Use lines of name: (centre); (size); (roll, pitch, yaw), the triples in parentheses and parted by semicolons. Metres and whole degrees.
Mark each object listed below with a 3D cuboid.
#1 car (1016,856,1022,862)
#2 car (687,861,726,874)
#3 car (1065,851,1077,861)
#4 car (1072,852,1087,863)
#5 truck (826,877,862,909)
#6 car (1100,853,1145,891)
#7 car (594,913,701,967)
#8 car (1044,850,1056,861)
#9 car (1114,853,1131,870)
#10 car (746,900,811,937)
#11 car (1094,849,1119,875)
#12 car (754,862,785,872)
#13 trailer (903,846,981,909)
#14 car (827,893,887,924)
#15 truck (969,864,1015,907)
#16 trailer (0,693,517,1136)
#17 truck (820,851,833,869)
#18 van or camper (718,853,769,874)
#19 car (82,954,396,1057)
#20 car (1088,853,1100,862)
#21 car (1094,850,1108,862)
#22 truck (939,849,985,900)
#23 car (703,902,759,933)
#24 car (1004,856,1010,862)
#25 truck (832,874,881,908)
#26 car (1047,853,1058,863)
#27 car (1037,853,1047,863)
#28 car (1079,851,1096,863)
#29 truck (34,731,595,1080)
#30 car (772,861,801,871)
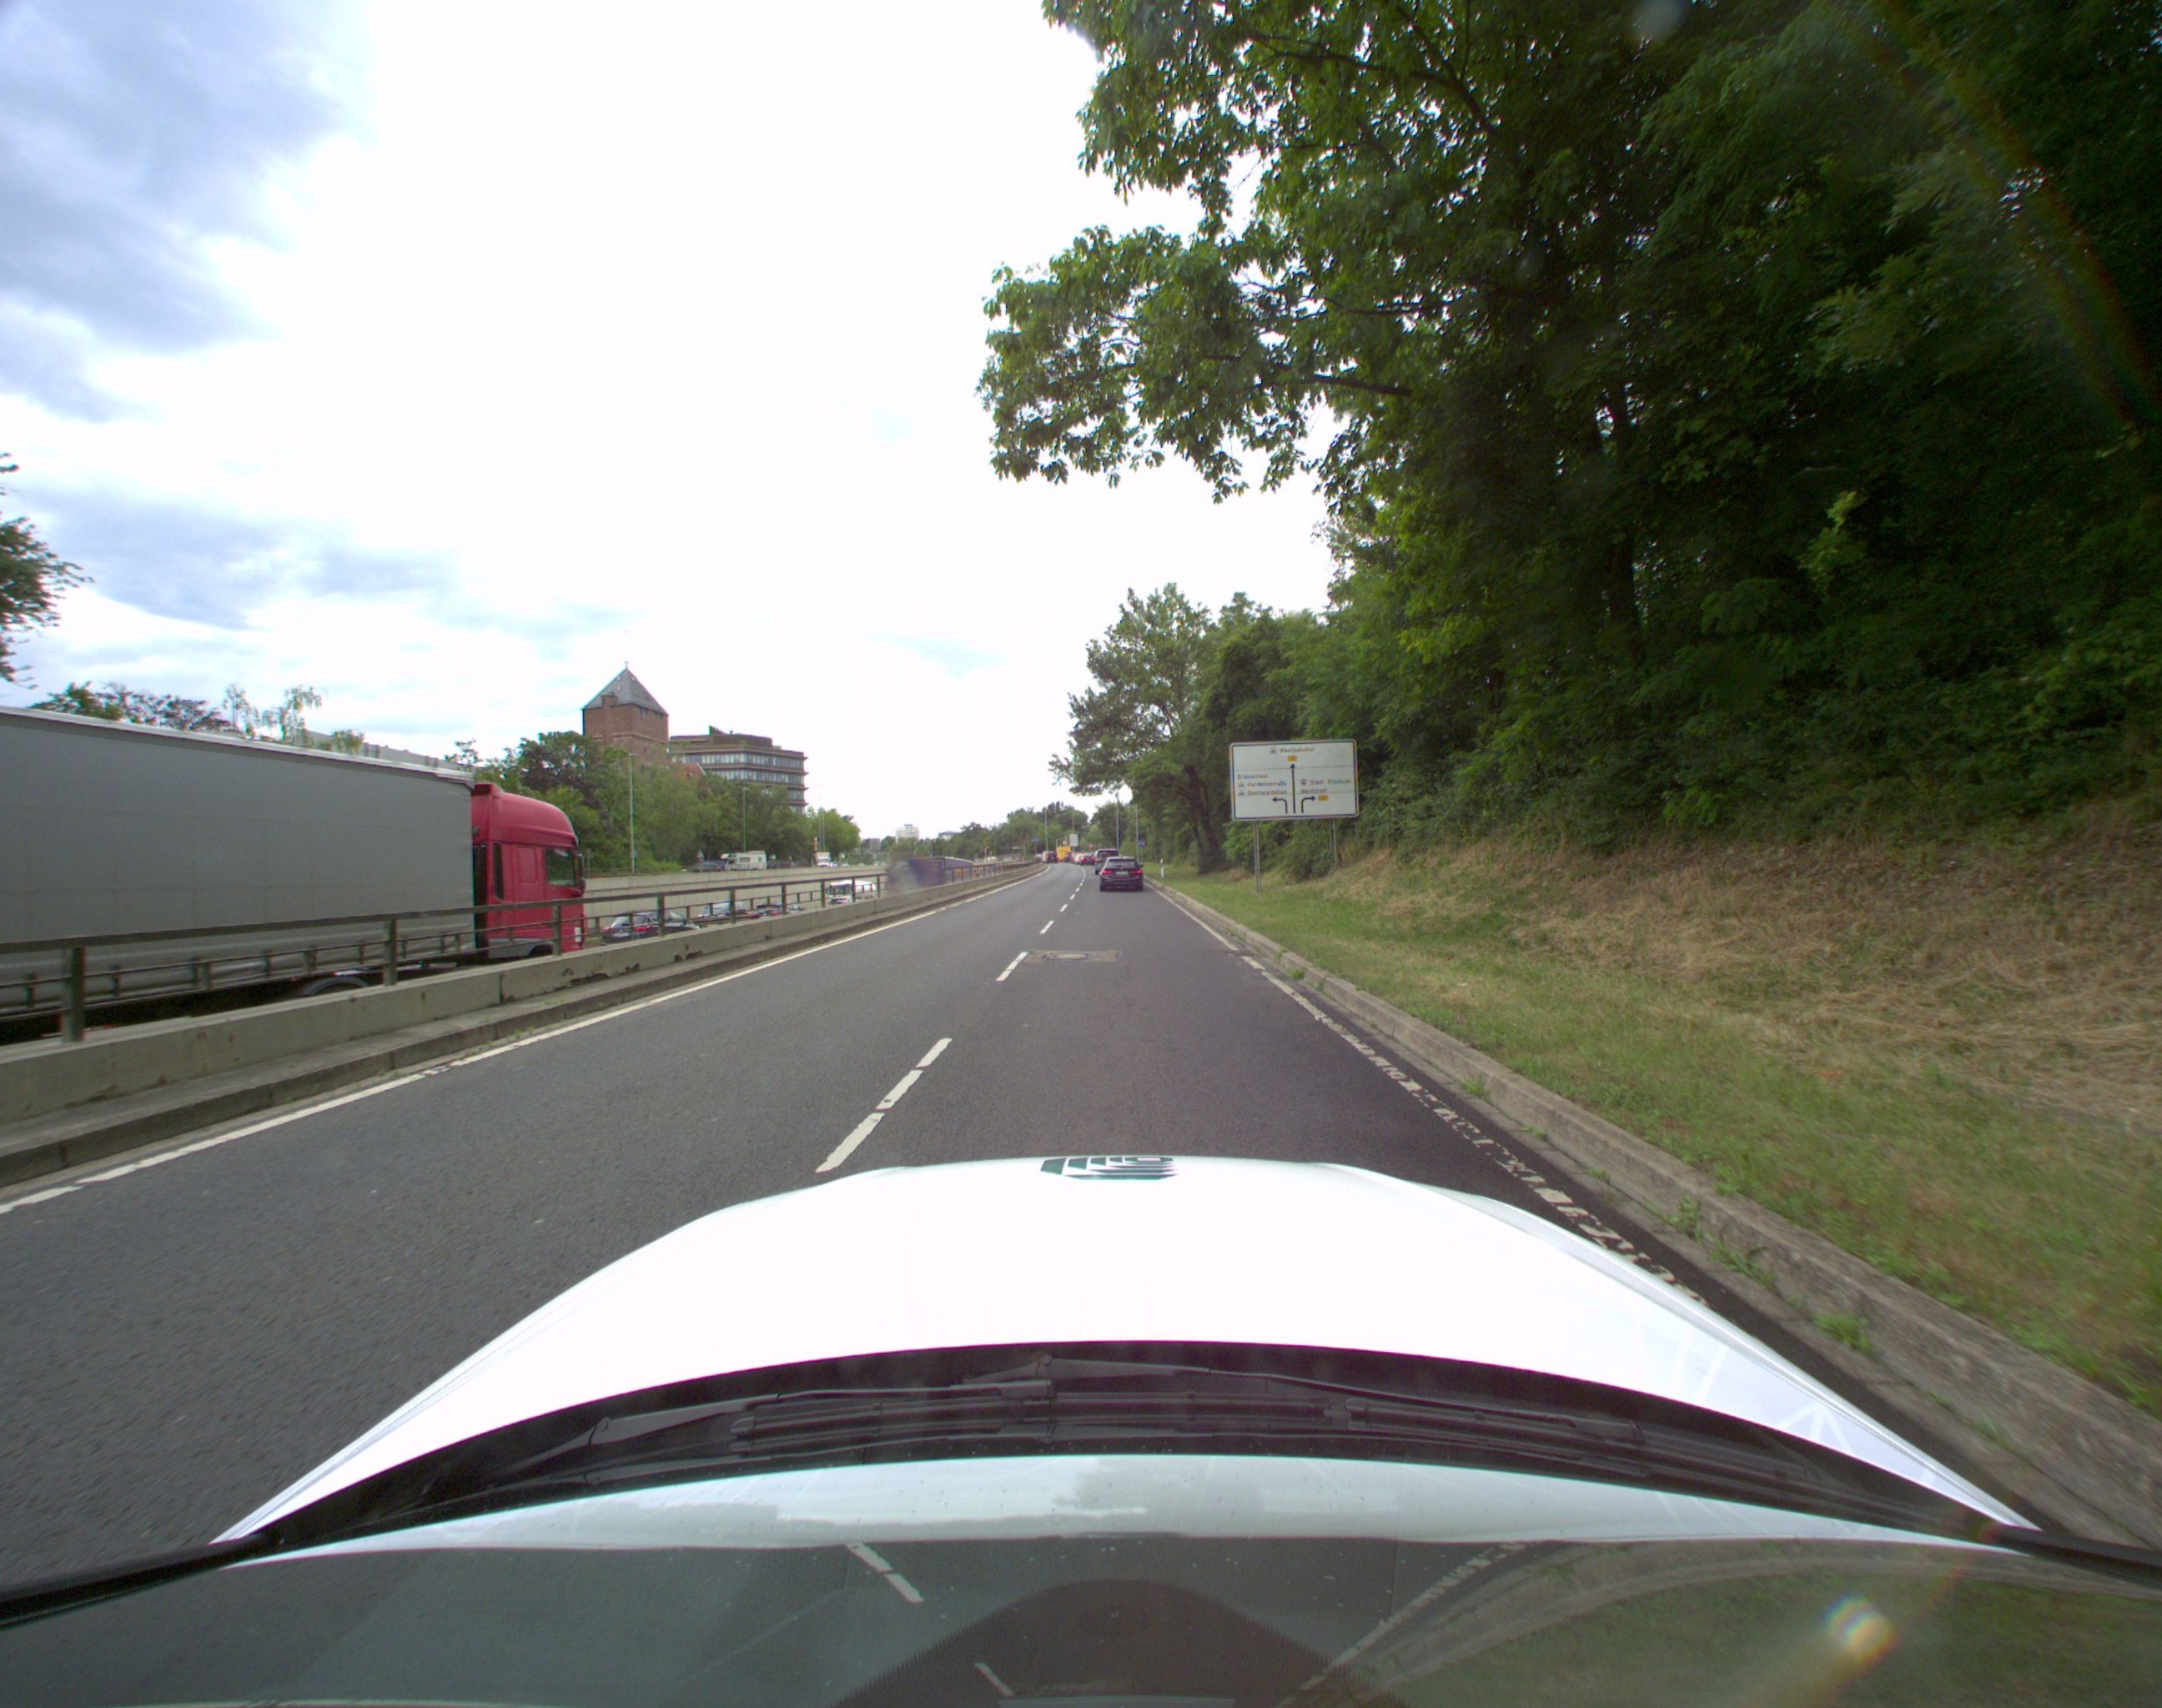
car: (-16.914, 1.399, 222.363); (1.621, 1.701, 4.287); (0, -1, -6)
car: (-44.915, 1.591, 97.744); (1.608, 1.441, 4.025); (-1, -1, 40)
car: (-1.767, 0.386, 143.098); (1.881, 1.700, 4.423); (0, -1, -4)
car: (-0.246, 0.542, 120.956); (1.881, 1.592, 4.423); (0, 0, -4)
truck: (-25.657, 4.169, 88.438); (2.517, 3.220, 4.317); (-2, -1, 0)
car: (1.729, 0.722, 35.059); (1.742, 1.426, 4.463); (-1, 1, 1)
car: (-15.325, 3.009, 29.036); (1.650, 1.529, 3.897); (0, 0, 1)
car: (-5.563, 0.294, 146.180); (1.881, 1.987, 4.423); (0, -1, -4)
car: (4.858, 0.881, 96.213); (1.891, 1.884, 4.417); (0, -1, 2)
car: (-14.885, 3.161, 40.282); (1.617, 1.529, 3.899); (0, 0, 2)
car: (1.957, 0.633, 62.187); (1.891, 1.884, 4.417); (0, -1, 2)
car: (-45.825, 1.901, 119.722); (1.608, 1.441, 4.025); (-1, -1, 40)
trailer: (-10.142, 1.611, 61.607); (2.842, 4.037, 16.004); (-2, -1, 0)
car: (-10.475, 2.505, 38.286); (1.649, 1.213, 3.898); (0, 0, 1)
truck: (-9.248, 3.130, 86.400); (2.841, 4.037, 15.576); (-2, -1, 0)
trailer: (-11.213, 0.585, 6.566); (2.641, 4.037, 14.561); (-2, -1, 2)
truck: (-42.704, 1.071, 136.895); (2.021, 2.987, 7.057); (0, -1, -17)
van or camper: (-45.250, 1.249, 109.352); (5.958, 2.810, 2.120); (0, -1, -43)
car: (-15.187, 2.674, 15.052); (1.649, 1.213, 3.899); (0, 0, 2)
car: (2.247, 0.662, 139.211); (1.879, 1.545, 3.998); (0, 0, -1)
car: (3.117, 0.300, 129.802); (1.881, 1.880, 4.423); (0, -1, -4)
truck: (-10.093, 1.702, 69.438); (2.841, 4.037, 6.096); (-2, -1, 0)
car: (-21.799, 3.941, 50.825); (1.617, 1.552, 3.955); (-2, 0, 2)
car: (-18.514, 1.263, 203.789); (1.621, 1.701, 4.287); (0, -1, -6)
truck: (-25.659, 4.154, 93.661); (2.516, 3.352, 11.047); (-2, -1, 0)
car: (-4.899, 0.697, 138.114); (1.621, 1.701, 4.287); (0, -1, -6)
car: (-7.406, 0.781, 153.010); (1.621, 1.701, 4.287); (0, -1, -6)
car: (0.812, 0.420, 106.577); (1.881, 1.592, 4.423); (0, 0, -4)
truck: (-10.975, 0.642, 12.776); (2.695, 4.037, 6.206); (-2, -1, 2)
car: (-46.198, 1.870, 127.775); (1.608, 1.441, 4.025); (-1, -1, 40)
